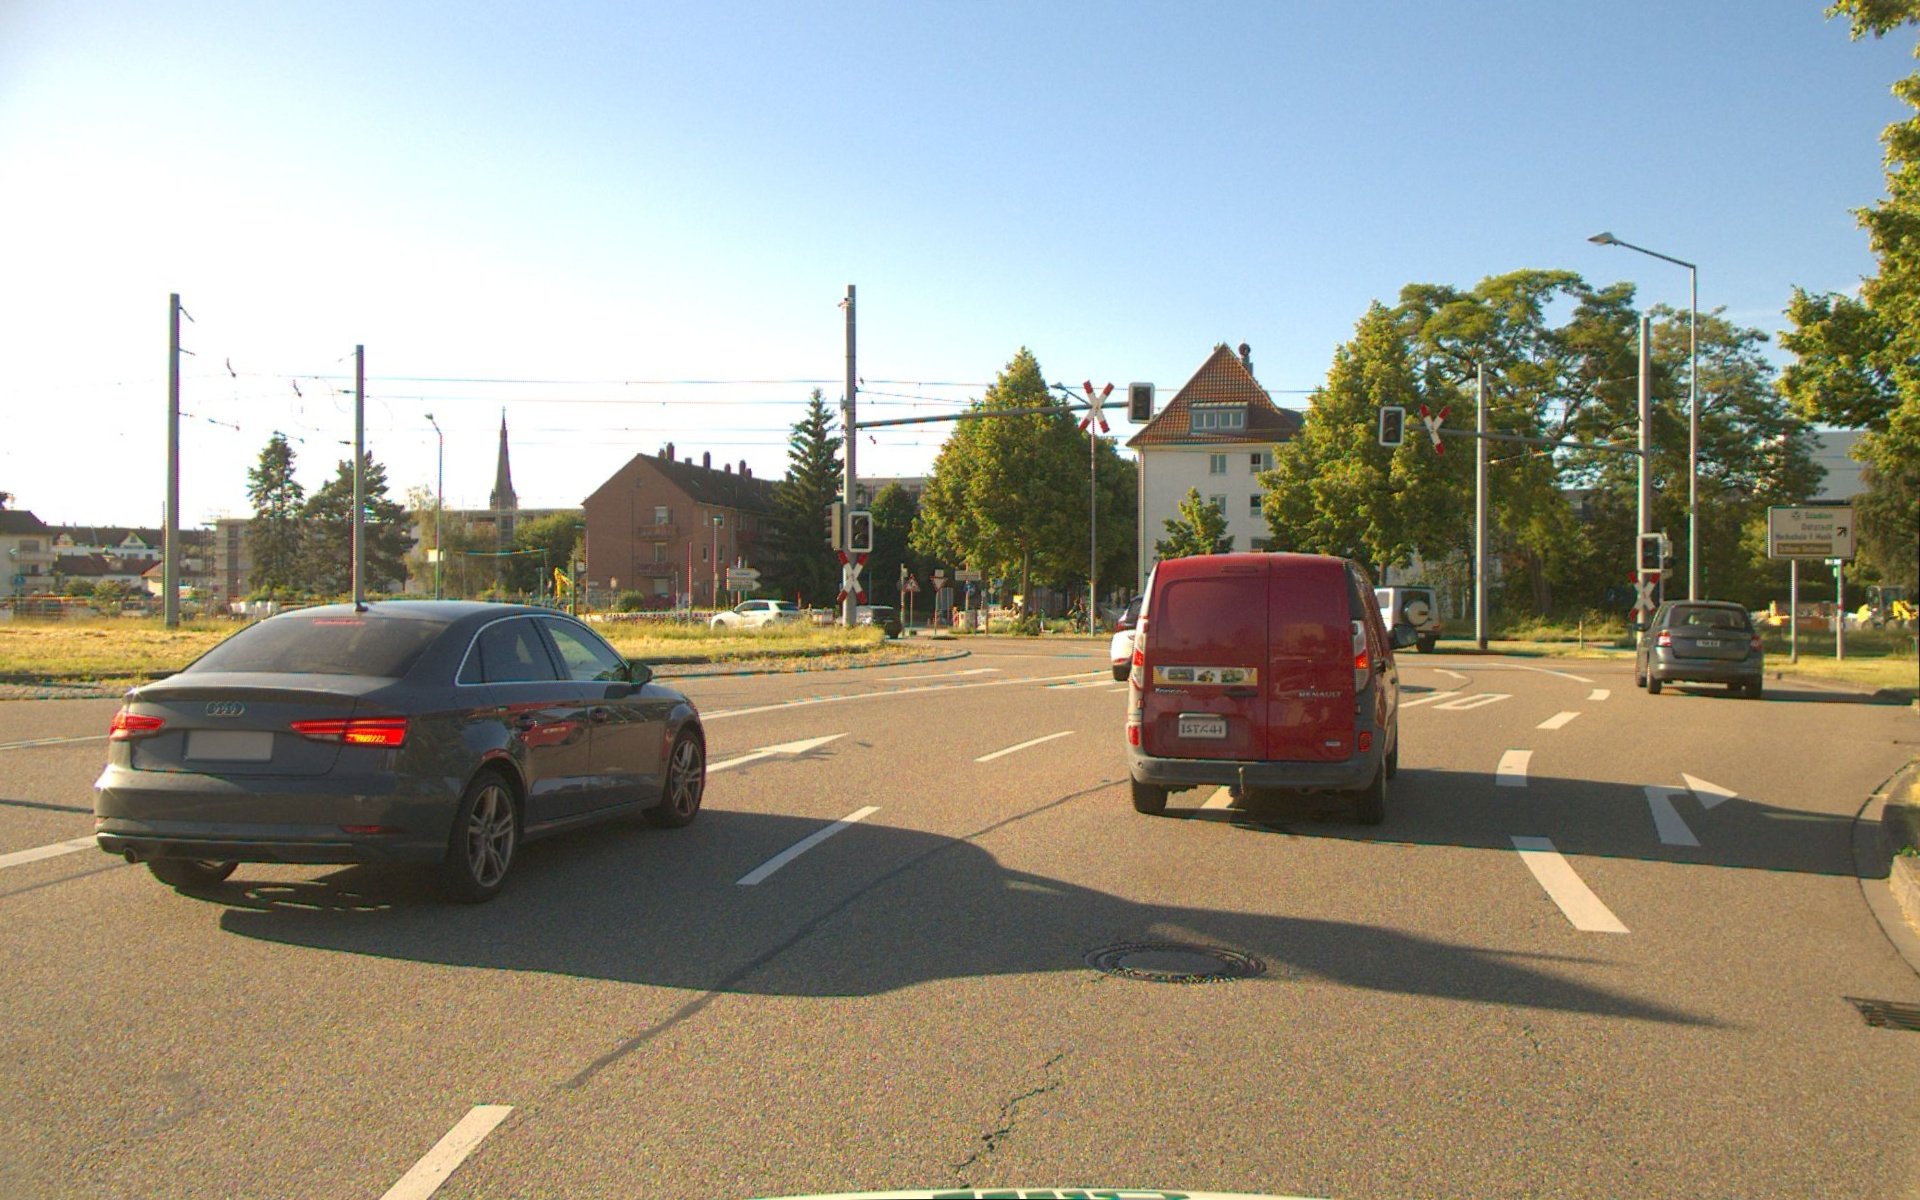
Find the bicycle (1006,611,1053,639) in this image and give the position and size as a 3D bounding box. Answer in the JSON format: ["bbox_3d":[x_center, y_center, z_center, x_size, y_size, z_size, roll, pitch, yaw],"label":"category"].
[{"bbox_3d":[3.331,1.204,79.415,2.169,1.288,0.880,0,-2,41],"label":"bicycle"}]

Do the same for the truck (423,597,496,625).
[{"bbox_3d":[-39.587,0.860,130.782,6.308,2.049,2.162,0,-2,37],"label":"truck"}]

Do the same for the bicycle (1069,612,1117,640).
[{"bbox_3d":[6.216,1.210,77.252,2.170,1.288,0.813,0,-2,43],"label":"bicycle"}]

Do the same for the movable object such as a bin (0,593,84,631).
[{"bbox_3d":[-71.311,0.873,125.689,2.884,2.831,7.903,0,0,36],"label":"movable object such as a bin"}]

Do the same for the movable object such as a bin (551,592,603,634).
[{"bbox_3d":[-26.864,0.922,115.996,2.394,2.822,3.958,2,-2,-31],"label":"movable object such as a bin"}]

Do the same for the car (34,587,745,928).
[{"bbox_3d":[-2.749,0.682,9.193,1.722,1.404,4.362,0,-1,12],"label":"car"}]

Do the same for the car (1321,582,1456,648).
[{"bbox_3d":[12.983,0.474,50.434,1.963,1.930,4.734,1,-1,-14],"label":"car"}]

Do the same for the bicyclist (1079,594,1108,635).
[{"bbox_3d":[6.233,0.673,77.265,1.008,1.885,0.807,0,-3,43],"label":"bicyclist"}]

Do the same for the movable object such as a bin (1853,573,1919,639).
[{"bbox_3d":[43.180,0.305,75.776,1.952,2.838,5.049,1,-2,2],"label":"movable object such as a bin"}]

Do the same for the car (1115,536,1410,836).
[{"bbox_3d":[2.407,0.516,12.392,1.764,1.845,3.812,1,1,16],"label":"car"}]

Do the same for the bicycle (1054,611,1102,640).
[{"bbox_3d":[5.428,1.164,76.353,2.170,1.288,0.813,0,-2,43],"label":"bicycle"}]

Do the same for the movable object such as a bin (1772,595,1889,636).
[{"bbox_3d":[44.987,0.797,85.585,4.899,1.982,2.241,1,-2,5],"label":"movable object such as a bin"}]

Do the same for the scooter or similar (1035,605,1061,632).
[{"bbox_3d":[4.247,0.900,79.980,1.239,1.270,0.443,-1,-3,36],"label":"scooter or similar"}]

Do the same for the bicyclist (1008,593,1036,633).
[{"bbox_3d":[2.943,0.627,78.407,1.008,1.885,0.879,0,-3,42],"label":"bicyclist"}]

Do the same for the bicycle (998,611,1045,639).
[{"bbox_3d":[2.906,1.164,78.424,2.169,1.288,0.880,0,-2,41],"label":"bicycle"}]

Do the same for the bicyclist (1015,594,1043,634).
[{"bbox_3d":[3.324,0.668,79.475,1.008,1.885,0.879,0,-3,42],"label":"bicyclist"}]

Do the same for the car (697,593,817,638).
[{"bbox_3d":[-7.855,0.569,63.973,4.313,1.667,1.996,0,0,31],"label":"car"}]

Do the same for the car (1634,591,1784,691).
[{"bbox_3d":[11.954,0.598,26.620,1.678,1.461,4.154,0,0,17],"label":"car"}]

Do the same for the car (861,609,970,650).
[{"bbox_3d":[-1.877,1.198,68.498,4.327,1.566,1.989,0,0,41],"label":"car"}]

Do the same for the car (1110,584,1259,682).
[{"bbox_3d":[3.854,0.558,27.861,1.765,1.487,3.810,1,-1,19],"label":"car"}]

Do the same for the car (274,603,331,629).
[{"bbox_3d":[-54.376,1.322,136.749,4.400,2.049,1.996,0,-2,30],"label":"car"}]

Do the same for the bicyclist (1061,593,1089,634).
[{"bbox_3d":[5.325,0.628,76.486,1.008,1.885,0.807,0,-3,43],"label":"bicyclist"}]
